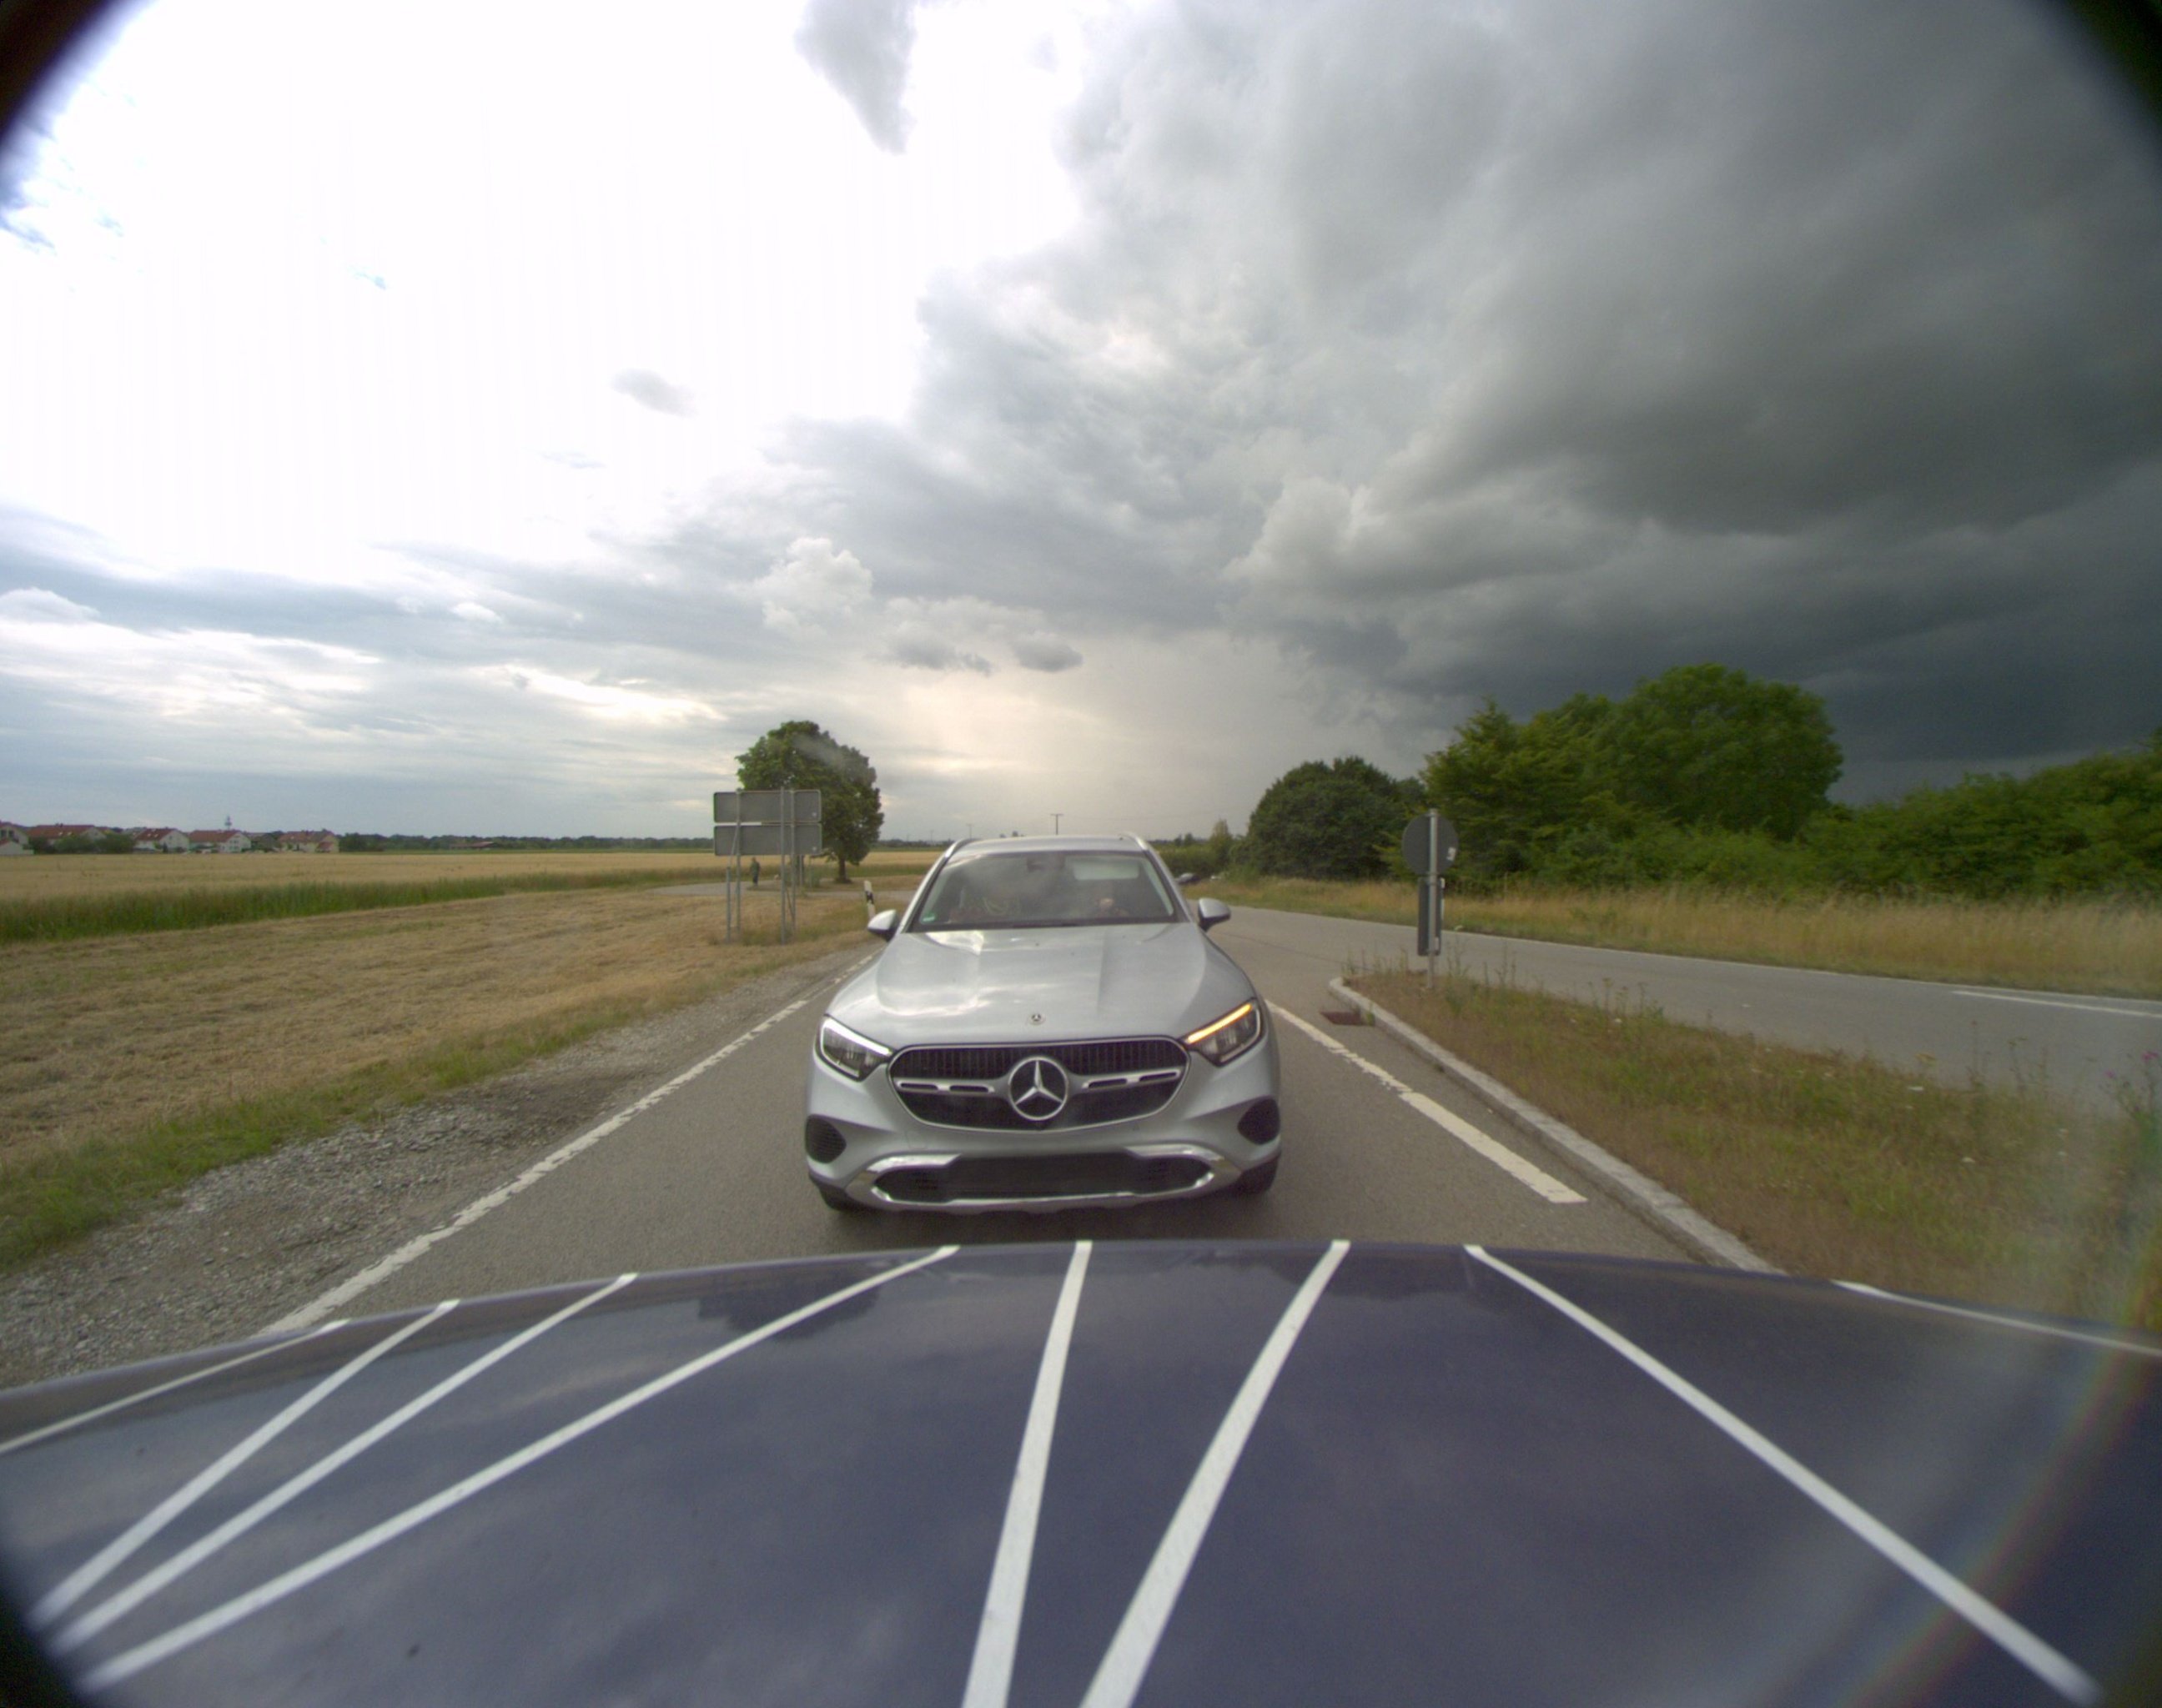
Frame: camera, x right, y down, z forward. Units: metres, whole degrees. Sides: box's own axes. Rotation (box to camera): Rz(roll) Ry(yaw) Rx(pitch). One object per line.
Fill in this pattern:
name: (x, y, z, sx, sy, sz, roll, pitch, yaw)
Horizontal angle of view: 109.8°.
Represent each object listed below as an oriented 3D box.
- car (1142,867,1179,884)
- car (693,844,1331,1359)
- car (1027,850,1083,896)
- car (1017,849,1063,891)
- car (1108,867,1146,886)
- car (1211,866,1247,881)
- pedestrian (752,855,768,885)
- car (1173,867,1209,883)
car: (7.744, 2.060, 73.689, 1.817, 1.524, 4.008, 1, 1, 34)
car: (-0.221, 0.777, 4.656, 1.996, 1.577, 4.393, -2, 1, 0)
car: (-0.933, 0.606, 26.285, 1.721, 1.345, 4.212, -2, 1, -3)
car: (-1.724, 0.606, 31.743, 1.721, 1.486, 4.636, -2, 1, -3)
car: (4.141, 1.956, 67.629, 1.817, 1.524, 4.008, 1, 1, 30)
car: (16.180, 2.143, 82.930, 4.008, 1.524, 1.817, -1, 1, -44)
pedestrian: (-18.038, 0.886, 42.690, 0.774, 1.602, 0.943, -1, 1, -21)
car: (11.280, 2.146, 78.000, 1.817, 1.524, 4.008, 1, 1, 40)
